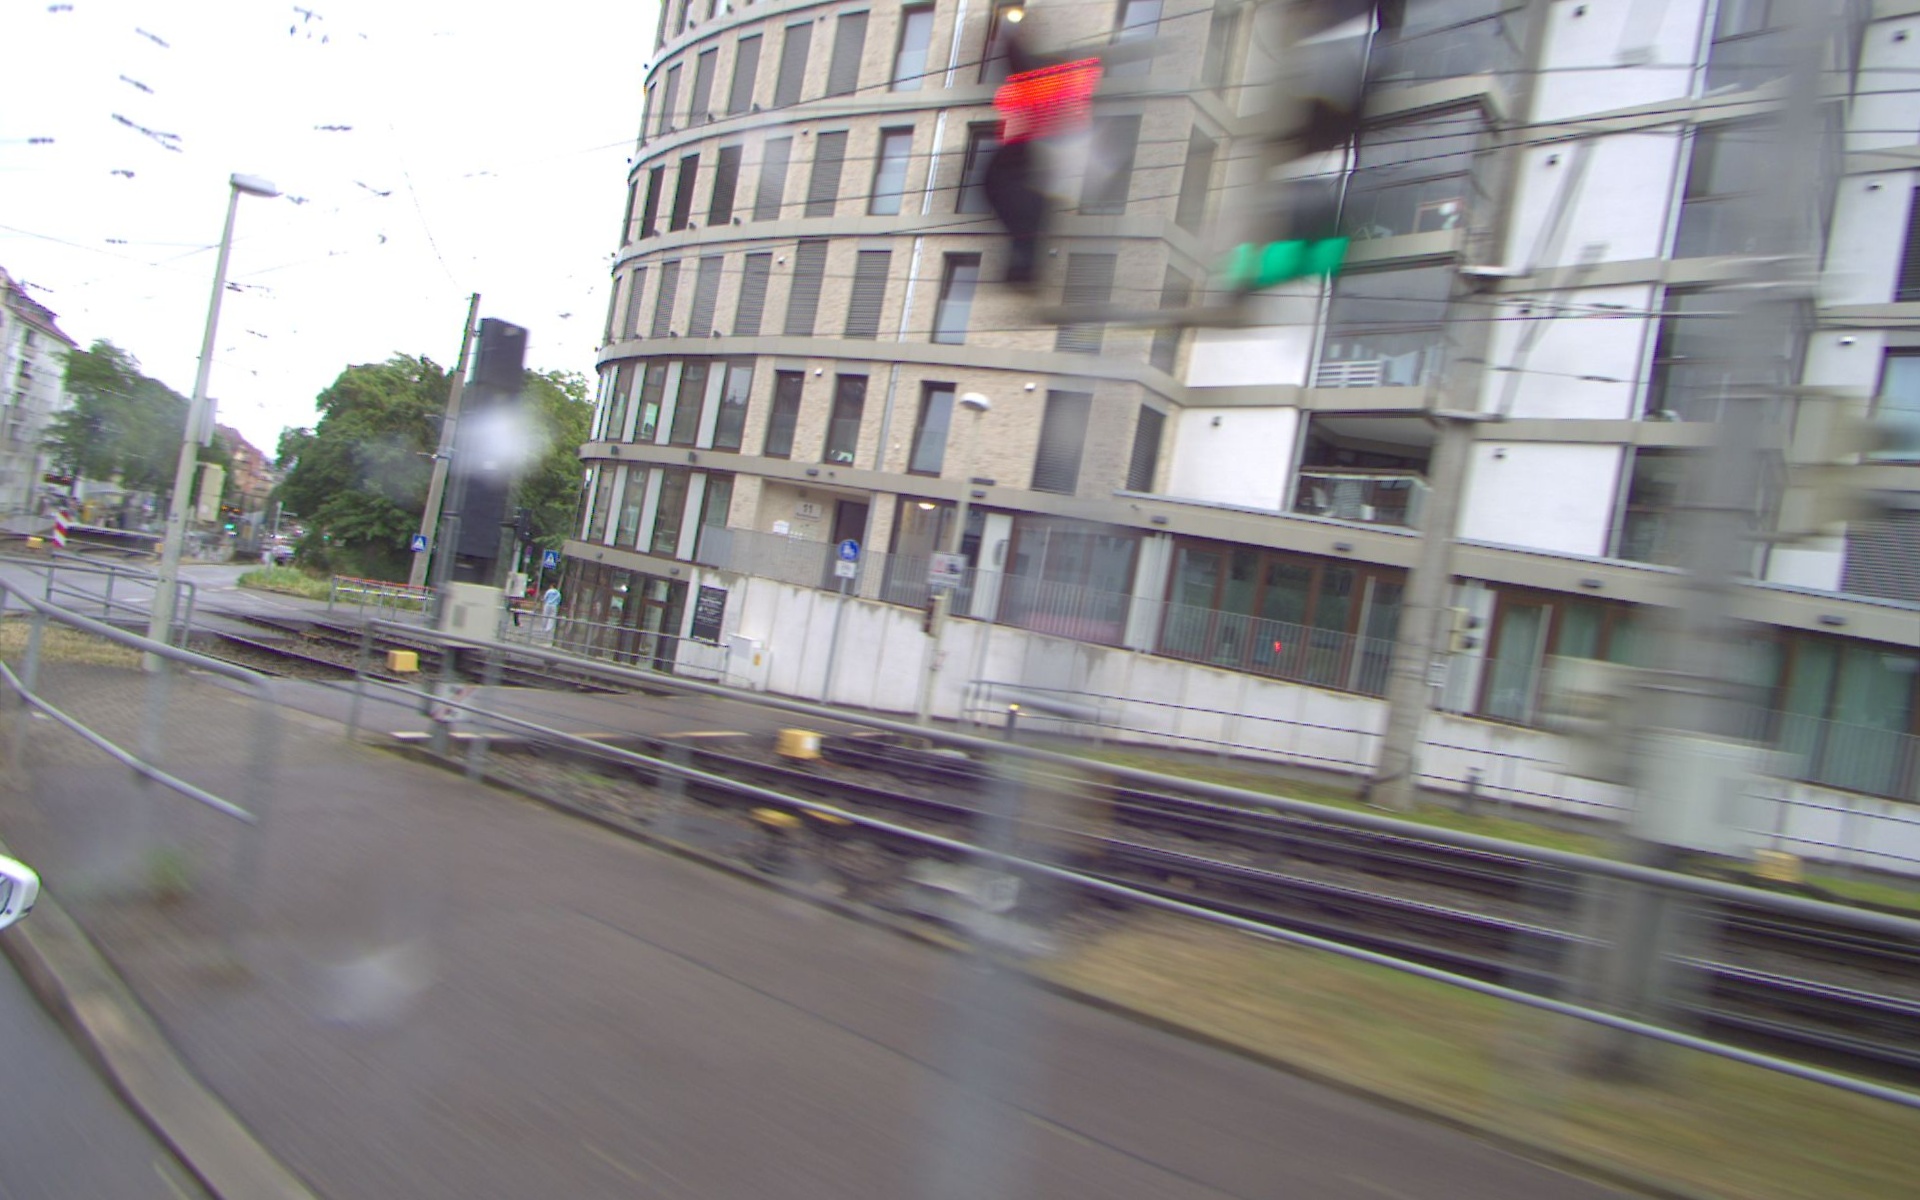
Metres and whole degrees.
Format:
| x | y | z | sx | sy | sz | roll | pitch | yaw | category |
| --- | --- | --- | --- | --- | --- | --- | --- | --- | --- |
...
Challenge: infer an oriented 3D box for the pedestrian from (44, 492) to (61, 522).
| x | y | z | sx | sy | sz | roll | pitch | yaw | category |
| --- | --- | --- | --- | --- | --- | --- | --- | --- | --- |
| -60.366 | -6.168 | 66.914 | 0.557 | 1.872 | 0.594 | 7 | -1 | -32 | pedestrian |

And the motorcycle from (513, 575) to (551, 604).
| x | y | z | sx | sy | sz | roll | pitch | yaw | category |
| --- | --- | --- | --- | --- | --- | --- | --- | --- | --- |
| -26.083 | -0.641 | 61.382 | 0.810 | 1.389 | 2.434 | 12 | -3 | 6 | motorcycle |

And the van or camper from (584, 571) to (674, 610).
| x | y | z | sx | sy | sz | roll | pitch | yaw | category |
| --- | --- | --- | --- | --- | --- | --- | --- | --- | --- |
| -21.450 | -0.632 | 65.287 | 5.082 | 1.855 | 2.002 | 6 | -2 | 12 | van or camper |

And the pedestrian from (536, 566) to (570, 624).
| x | y | z | sx | sy | sz | roll | pitch | yaw | category |
| --- | --- | --- | --- | --- | --- | --- | --- | --- | --- |
| -15.149 | -0.181 | 37.404 | 0.654 | 2.037 | 0.880 | 8 | -1 | -45 | pedestrian |

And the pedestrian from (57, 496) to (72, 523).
| x | y | z | sx | sy | sz | roll | pitch | yaw | category |
| --- | --- | --- | --- | --- | --- | --- | --- | --- | --- |
| -63.102 | -6.370 | 70.900 | 0.512 | 1.859 | 0.756 | 7 | -1 | -32 | pedestrian |

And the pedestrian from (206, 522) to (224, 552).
| x | y | z | sx | sy | sz | roll | pitch | yaw | category |
| --- | --- | --- | --- | --- | --- | --- | --- | --- | --- |
| -47.596 | -4.011 | 64.258 | 0.646 | 1.804 | 0.841 | 9 | -2 | -32 | pedestrian |

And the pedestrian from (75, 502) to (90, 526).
| x | y | z | sx | sy | sz | roll | pitch | yaw | category |
| --- | --- | --- | --- | --- | --- | --- | --- | --- | --- |
| -66.320 | -6.463 | 75.999 | 0.590 | 1.685 | 0.756 | 7 | -1 | -32 | pedestrian |

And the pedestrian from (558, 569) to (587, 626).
| x | y | z | sx | sy | sz | roll | pitch | yaw | category |
| --- | --- | --- | --- | --- | --- | --- | --- | --- | --- |
| -14.579 | -0.095 | 37.841 | 0.588 | 2.037 | 0.883 | 8 | -1 | -37 | pedestrian |

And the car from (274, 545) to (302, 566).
| x | y | z | sx | sy | sz | roll | pitch | yaw | category |
| --- | --- | --- | --- | --- | --- | --- | --- | --- | --- |
| -60.496 | -4.026 | 90.613 | 1.841 | 1.490 | 3.965 | 9 | -2 | -33 | car |

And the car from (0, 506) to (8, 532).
| x | y | z | sx | sy | sz | roll | pitch | yaw | category |
| --- | --- | --- | --- | --- | --- | --- | --- | --- | --- |
| -69.234 | -5.955 | 70.812 | 1.979 | 1.751 | 4.780 | 8 | -3 | -29 | car |

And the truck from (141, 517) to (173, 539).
| x | y | z | sx | sy | sz | roll | pitch | yaw | category |
| --- | --- | --- | --- | --- | --- | --- | --- | --- | --- |
| -110.401 | -9.866 | 138.375 | 2.036 | 2.420 | 6.277 | 9 | -3 | -29 | truck |

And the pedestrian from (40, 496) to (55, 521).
| x | y | z | sx | sy | sz | roll | pitch | yaw | category |
| --- | --- | --- | --- | --- | --- | --- | --- | --- | --- |
| -60.980 | -6.106 | 67.204 | 0.512 | 1.624 | 0.558 | 7 | -1 | -32 | pedestrian |
